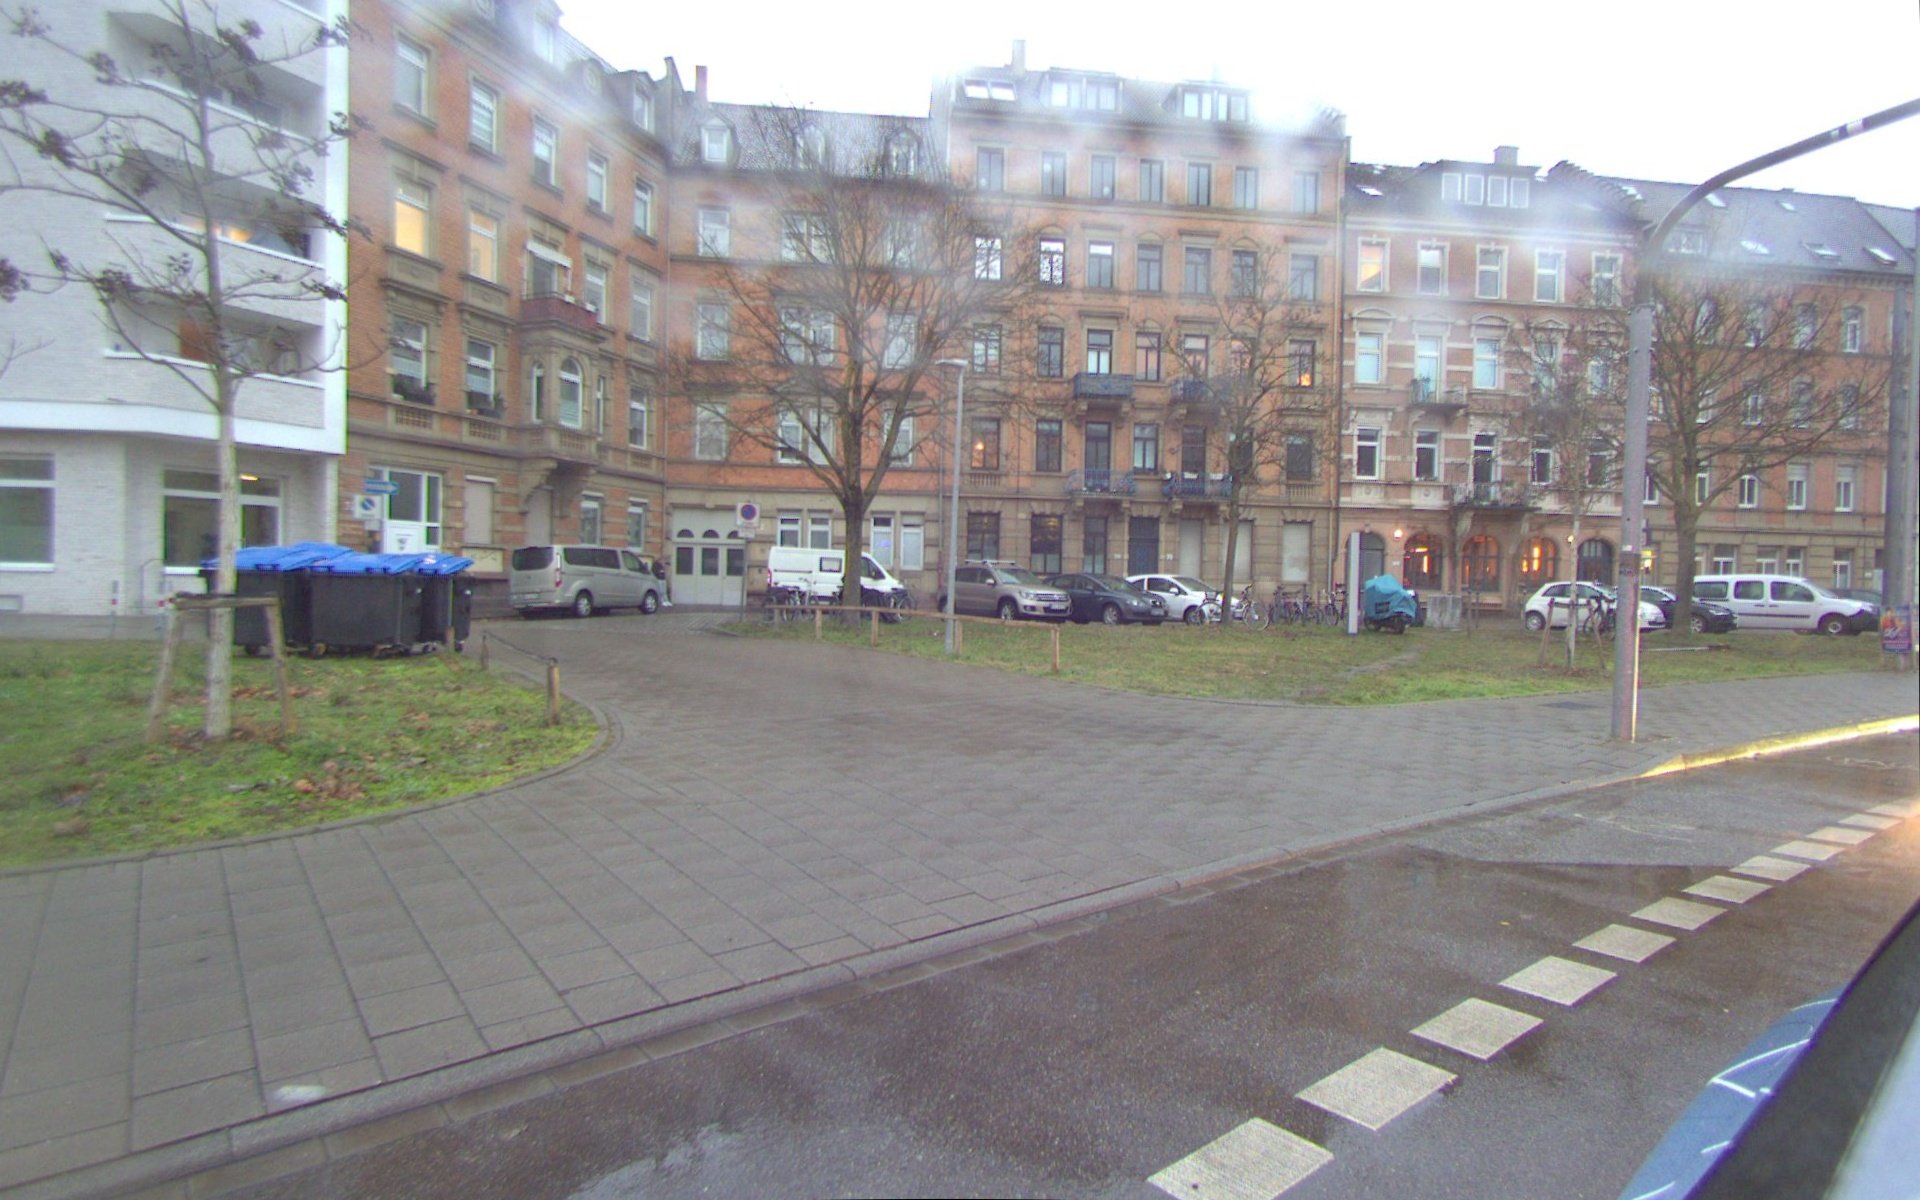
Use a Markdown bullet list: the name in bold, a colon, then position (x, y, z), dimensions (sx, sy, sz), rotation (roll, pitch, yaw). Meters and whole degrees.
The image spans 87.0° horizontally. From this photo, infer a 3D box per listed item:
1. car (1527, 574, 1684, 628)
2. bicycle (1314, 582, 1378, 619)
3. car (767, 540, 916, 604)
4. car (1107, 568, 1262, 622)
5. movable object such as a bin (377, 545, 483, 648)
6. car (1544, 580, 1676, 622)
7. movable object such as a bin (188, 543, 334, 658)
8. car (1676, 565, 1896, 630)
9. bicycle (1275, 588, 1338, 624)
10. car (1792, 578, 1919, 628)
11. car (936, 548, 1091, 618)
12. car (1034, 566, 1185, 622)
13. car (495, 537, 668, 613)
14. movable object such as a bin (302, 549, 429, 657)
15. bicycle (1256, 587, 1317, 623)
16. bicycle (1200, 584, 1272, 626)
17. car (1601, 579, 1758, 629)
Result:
- **car**: position (18.413, 0.039, 28.992), dimensions (1.583, 1.461, 3.467), rotation (1, 0, -34)
- **bicycle**: position (11.150, -0.009, 29.334), dimensions (0.613, 0.978, 2.176), rotation (1, 2, -13)
- **car**: position (-4.052, -0.954, 34.519), dimensions (4.885, 2.038, 2.004), rotation (1, 2, -8)
- **car**: position (6.044, -0.174, 27.543), dimensions (1.669, 1.353, 3.852), rotation (0, 1, -42)
- **movable object such as a bin**: position (-8.017, -0.042, 15.351), dimensions (1.022, 1.509, 1.035), rotation (0, -1, 6)
- **car**: position (24.251, 0.061, 37.792), dimensions (3.967, 1.520, 1.740), rotation (1, -1, -9)
- **movable object such as a bin**: position (-9.675, -0.003, 14.061), dimensions (1.304, 1.514, 1.031), rotation (1, 1, 0)
- **car**: position (24.071, -0.143, 29.665), dimensions (1.745, 1.611, 4.663), rotation (0, 3, -37)
- **bicycle**: position (10.039, 0.168, 29.407), dimensions (0.613, 0.978, 2.175), rotation (3, -1, -13)
- **car**: position (27.115, 0.124, 29.491), dimensions (1.737, 1.250, 4.066), rotation (2, 3, -35)
- **car**: position (1.317, -0.493, 26.469), dimensions (1.908, 1.656, 3.999), rotation (-1, 3, -37)
- **car**: position (3.882, -0.152, 26.666), dimensions (1.649, 1.372, 3.737), rotation (2, 0, -42)
- **car**: position (-10.526, -0.600, 28.568), dimensions (1.976, 1.943, 4.715), rotation (-1, -1, 21)
- **movable object such as a bin**: position (-8.290, 0.024, 14.172), dimensions (1.200, 1.433, 1.018), rotation (1, 2, -3)
- **bicycle**: position (9.411, 0.141, 29.264), dimensions (0.613, 0.978, 2.175), rotation (3, -1, -13)
- **bicycle**: position (6.641, 0.106, 24.422), dimensions (1.628, 0.948, 0.512), rotation (2, 1, 15)
- **car**: position (21.006, 0.093, 29.628), dimensions (1.634, 1.368, 3.430), rotation (1, 0, -39)
